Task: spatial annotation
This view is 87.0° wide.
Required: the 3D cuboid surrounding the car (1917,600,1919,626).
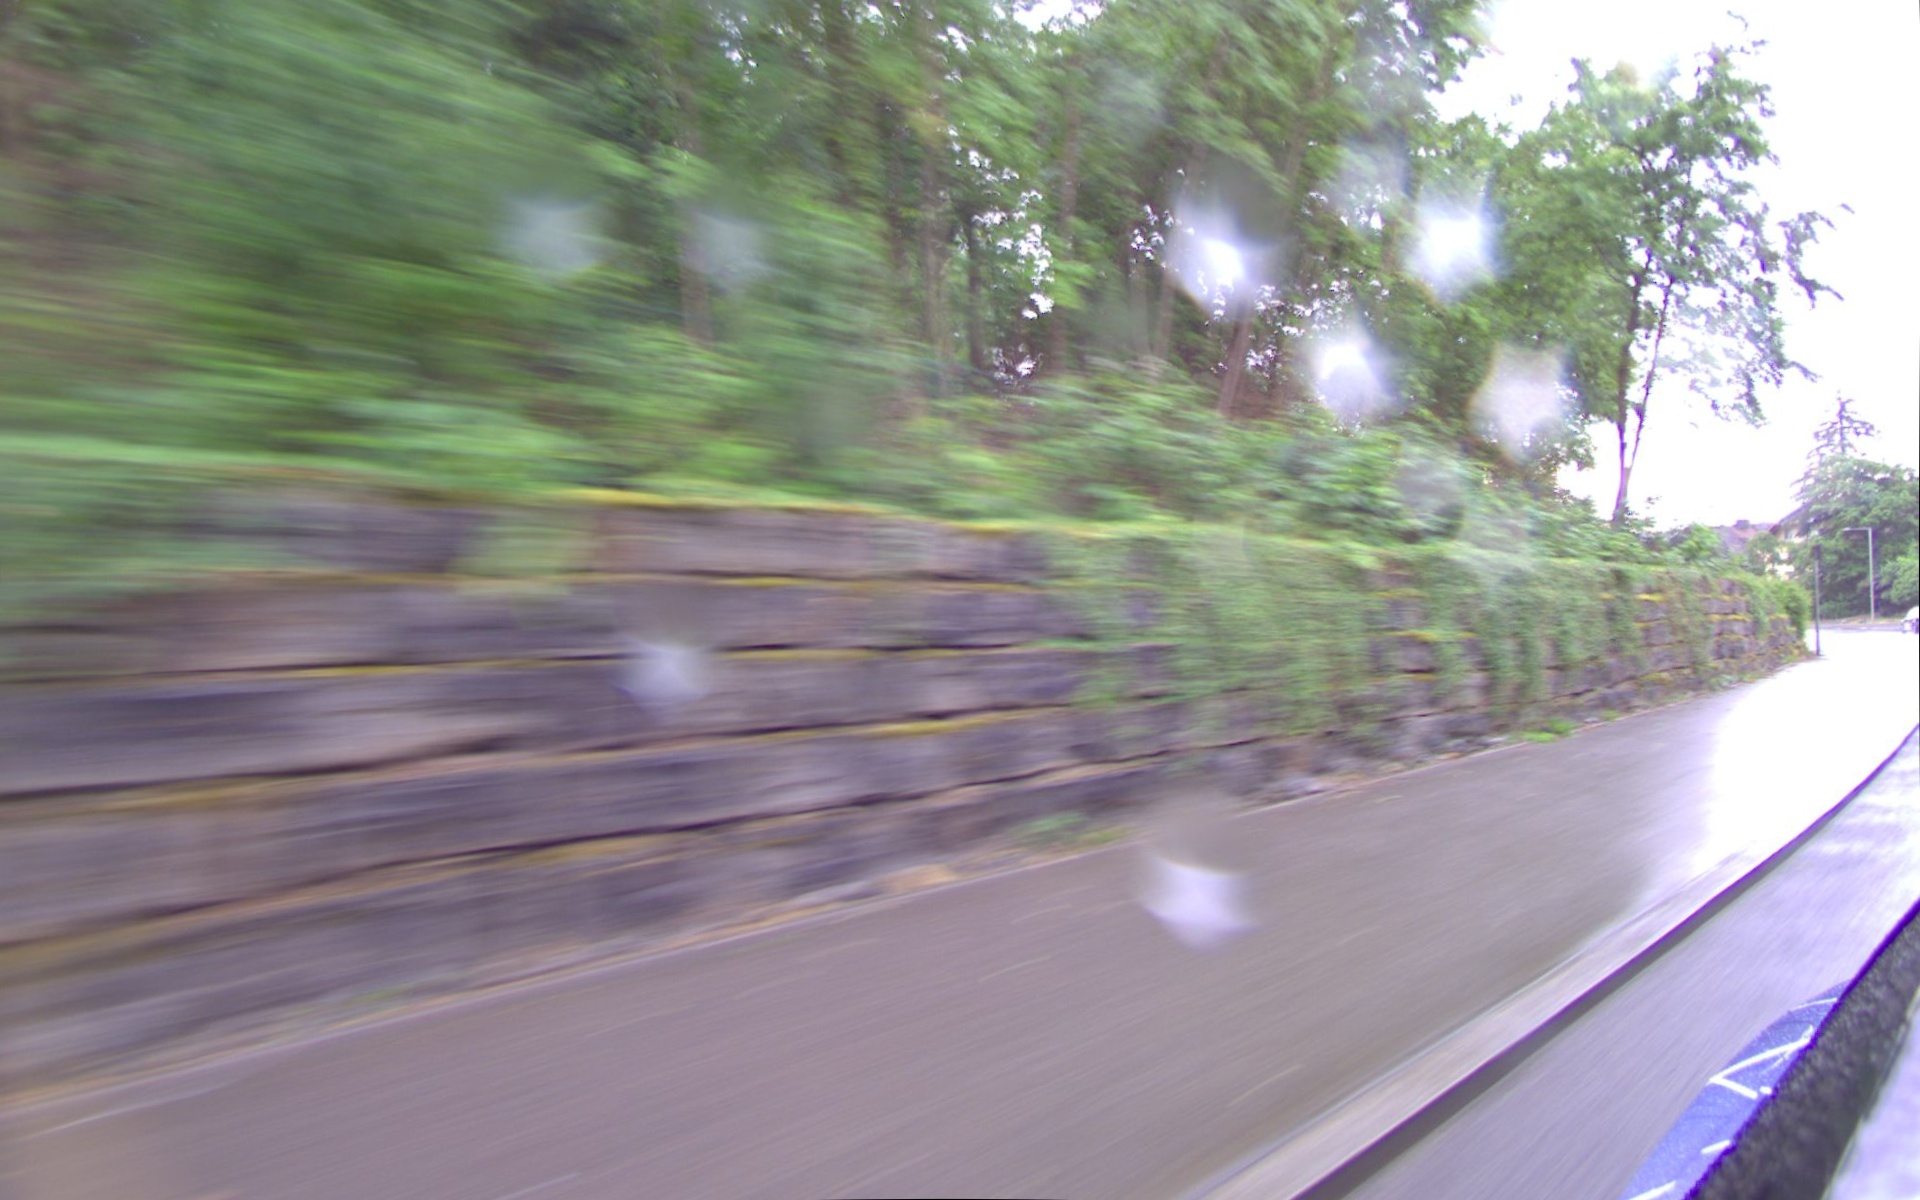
[{"bbox_3d":[56.760,0.761,58.239,1.829,1.531,4.556,-1,-1,37],"label":"car"}]
